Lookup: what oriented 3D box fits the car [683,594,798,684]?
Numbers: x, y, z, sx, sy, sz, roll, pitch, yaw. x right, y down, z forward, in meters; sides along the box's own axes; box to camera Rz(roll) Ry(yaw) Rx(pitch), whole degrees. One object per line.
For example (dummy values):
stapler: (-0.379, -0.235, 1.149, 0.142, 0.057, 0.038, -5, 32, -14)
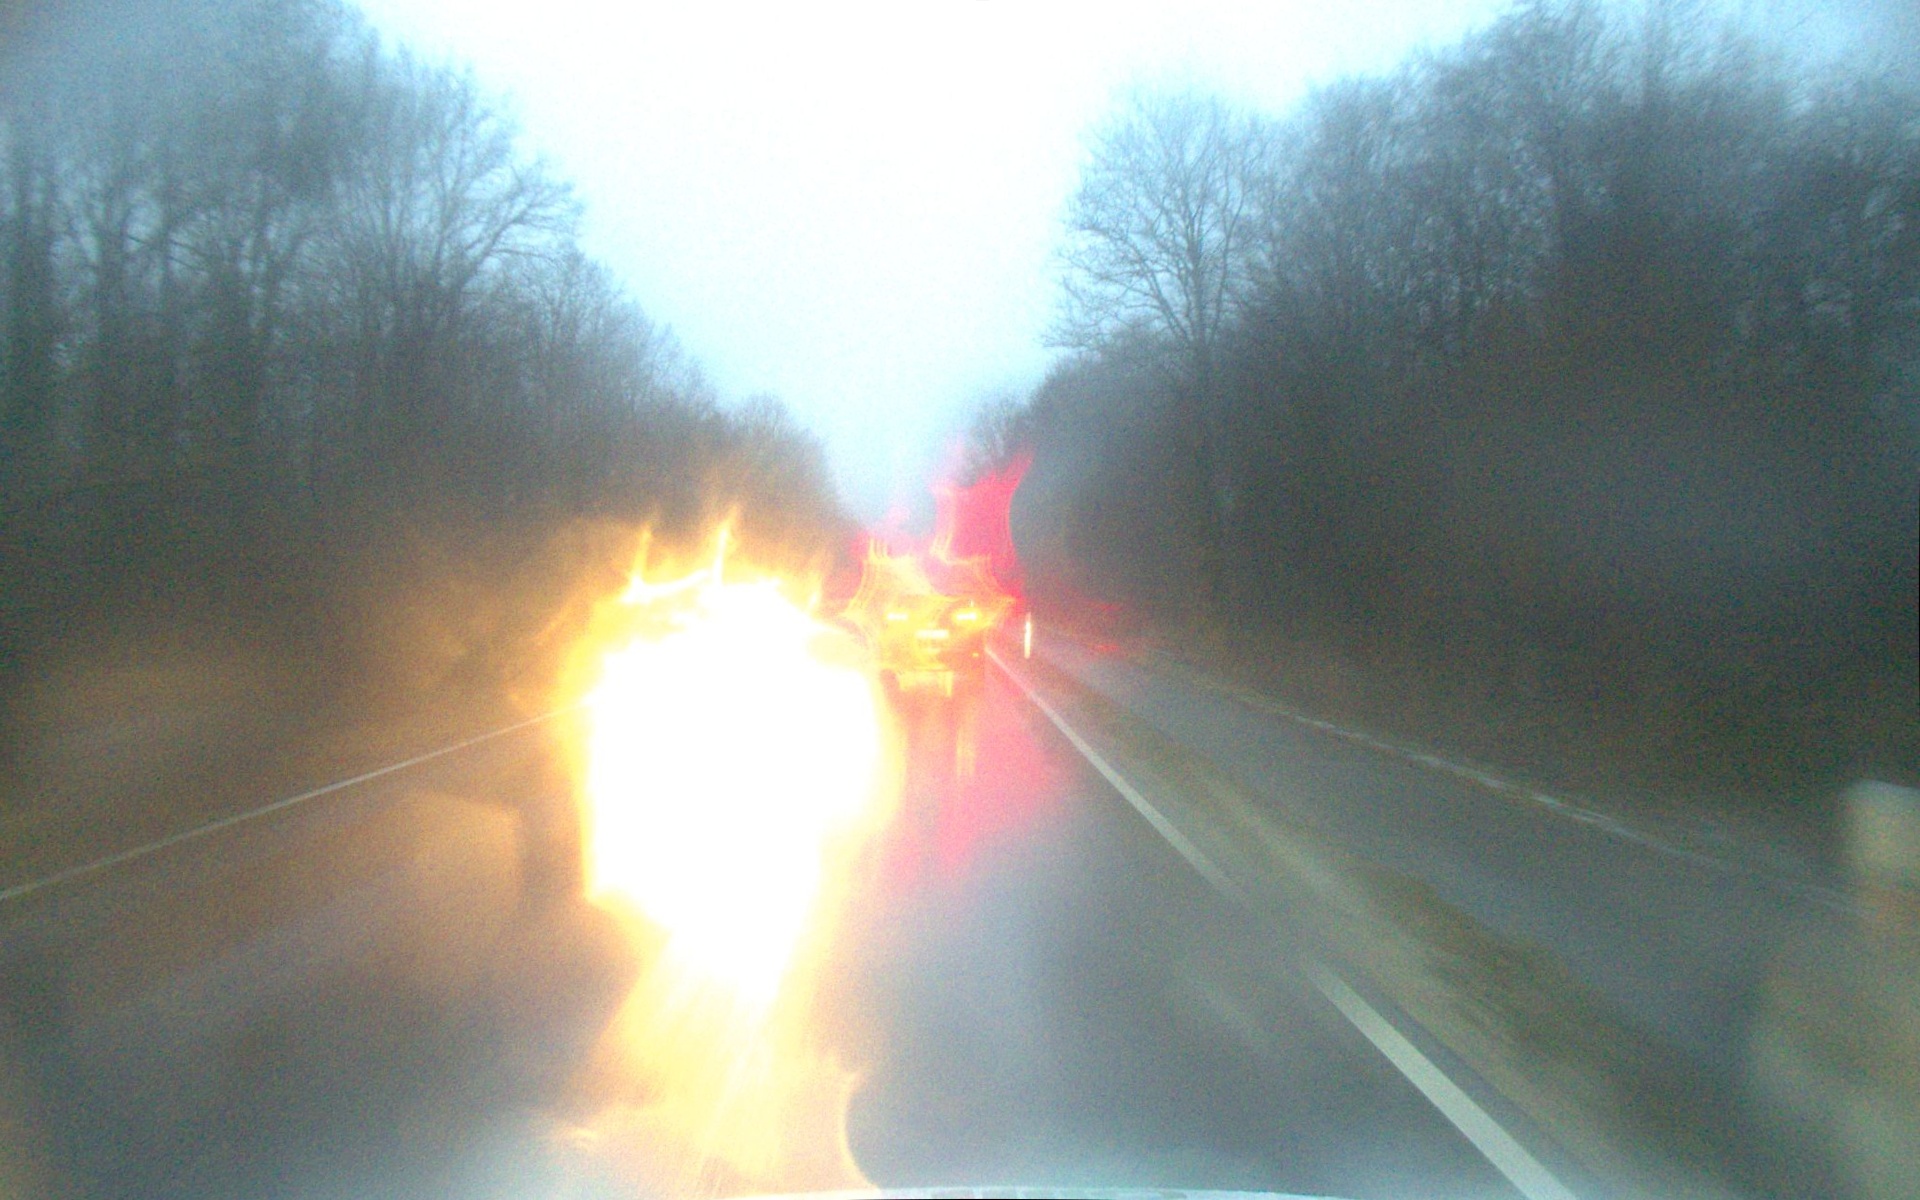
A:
car: (-3.731, 0.626, 28.693, 1.586, 1.413, 4.070, -1, 0, -2)
